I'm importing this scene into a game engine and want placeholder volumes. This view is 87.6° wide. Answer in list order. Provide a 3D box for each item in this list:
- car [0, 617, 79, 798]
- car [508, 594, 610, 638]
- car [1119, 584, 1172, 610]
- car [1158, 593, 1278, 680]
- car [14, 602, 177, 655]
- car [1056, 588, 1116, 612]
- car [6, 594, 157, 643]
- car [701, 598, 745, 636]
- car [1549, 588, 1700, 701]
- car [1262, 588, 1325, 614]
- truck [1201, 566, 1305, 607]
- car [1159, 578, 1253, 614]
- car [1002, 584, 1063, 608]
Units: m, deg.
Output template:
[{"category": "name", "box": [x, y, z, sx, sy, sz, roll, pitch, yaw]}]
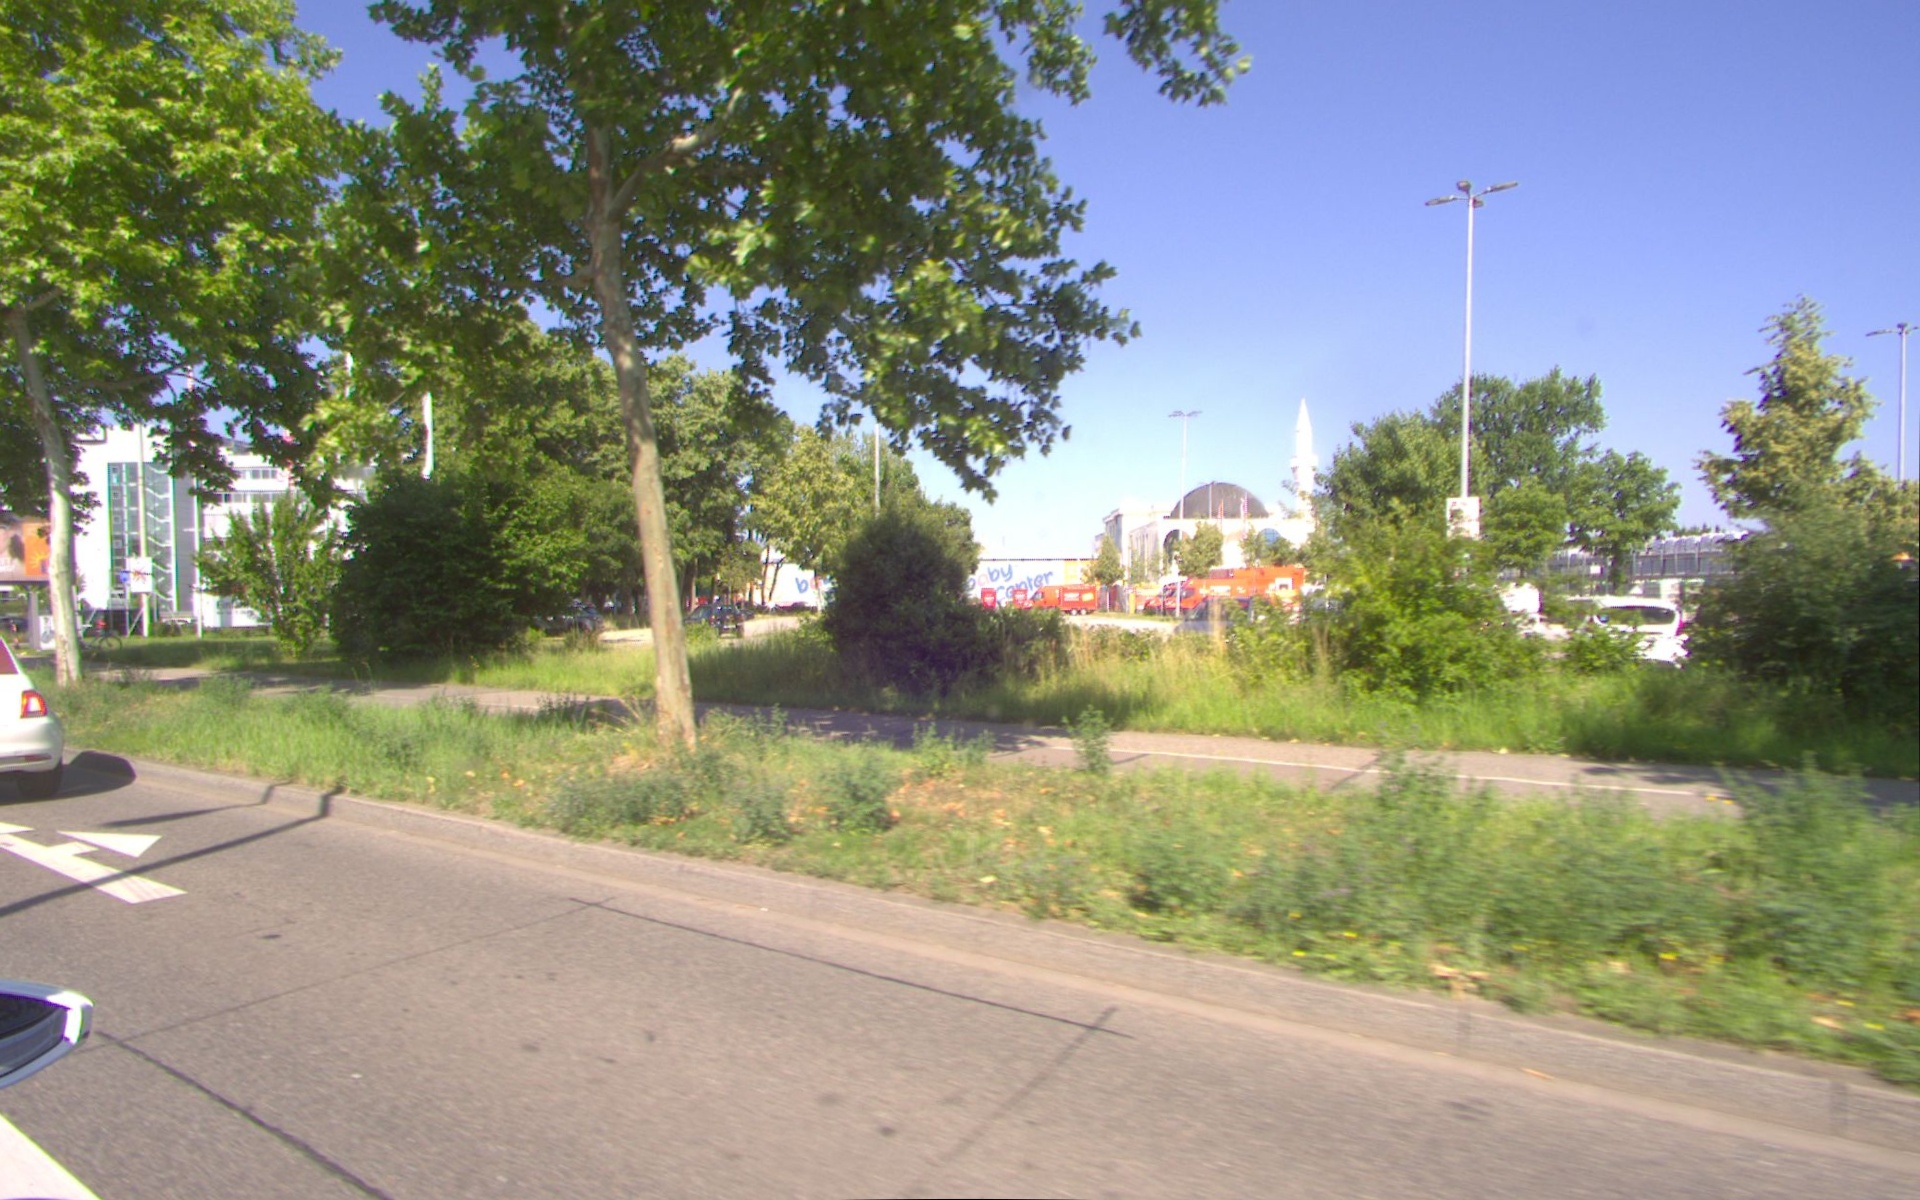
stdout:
[{"category": "car", "box": [-9.352, 0.887, 8.751, 3.471, 1.455, 1.658, -1, -1, 34]}, {"category": "car", "box": [-16.322, 0.666, 40.940, 3.681, 1.738, 1.766, 0, -1, -14]}, {"category": "car", "box": [14.864, -0.204, 80.510, 3.922, 2.040, 2.001, 0, -1, 2]}, {"category": "car", "box": [5.673, 0.764, 21.735, 1.693, 1.718, 3.544, -1, -1, 29]}, {"category": "car", "box": [-29.553, 0.965, 34.330, 1.701, 1.683, 3.973, -1, -1, 37]}, {"category": "car", "box": [10.457, -0.016, 83.416, 4.824, 1.906, 1.770, 0, -1, 1]}, {"category": "car", "box": [-32.270, 0.699, 36.875, 1.701, 1.683, 3.973, -1, -1, 37]}, {"category": "car", "box": [-10.130, 0.751, 43.014, 1.743, 1.534, 3.722, 0, -1, -12]}, {"category": "car", "box": [11.768, 0.757, 17.977, 1.725, 1.794, 3.987, -1, -1, 26]}, {"category": "car", "box": [26.356, 0.099, 79.227, 4.304, 2.040, 2.000, 0, -1, -3]}, {"category": "truck", "box": [24.376, -1.091, 83.372, 8.068, 3.290, 2.000, 0, -1, -3]}, {"category": "car", "box": [16.491, -0.261, 67.336, 5.822, 2.371, 2.115, 0, -1, 1]}, {"category": "car", "box": [6.439, -0.380, 88.970, 5.188, 2.039, 2.001, 0, -2, -5]}]
